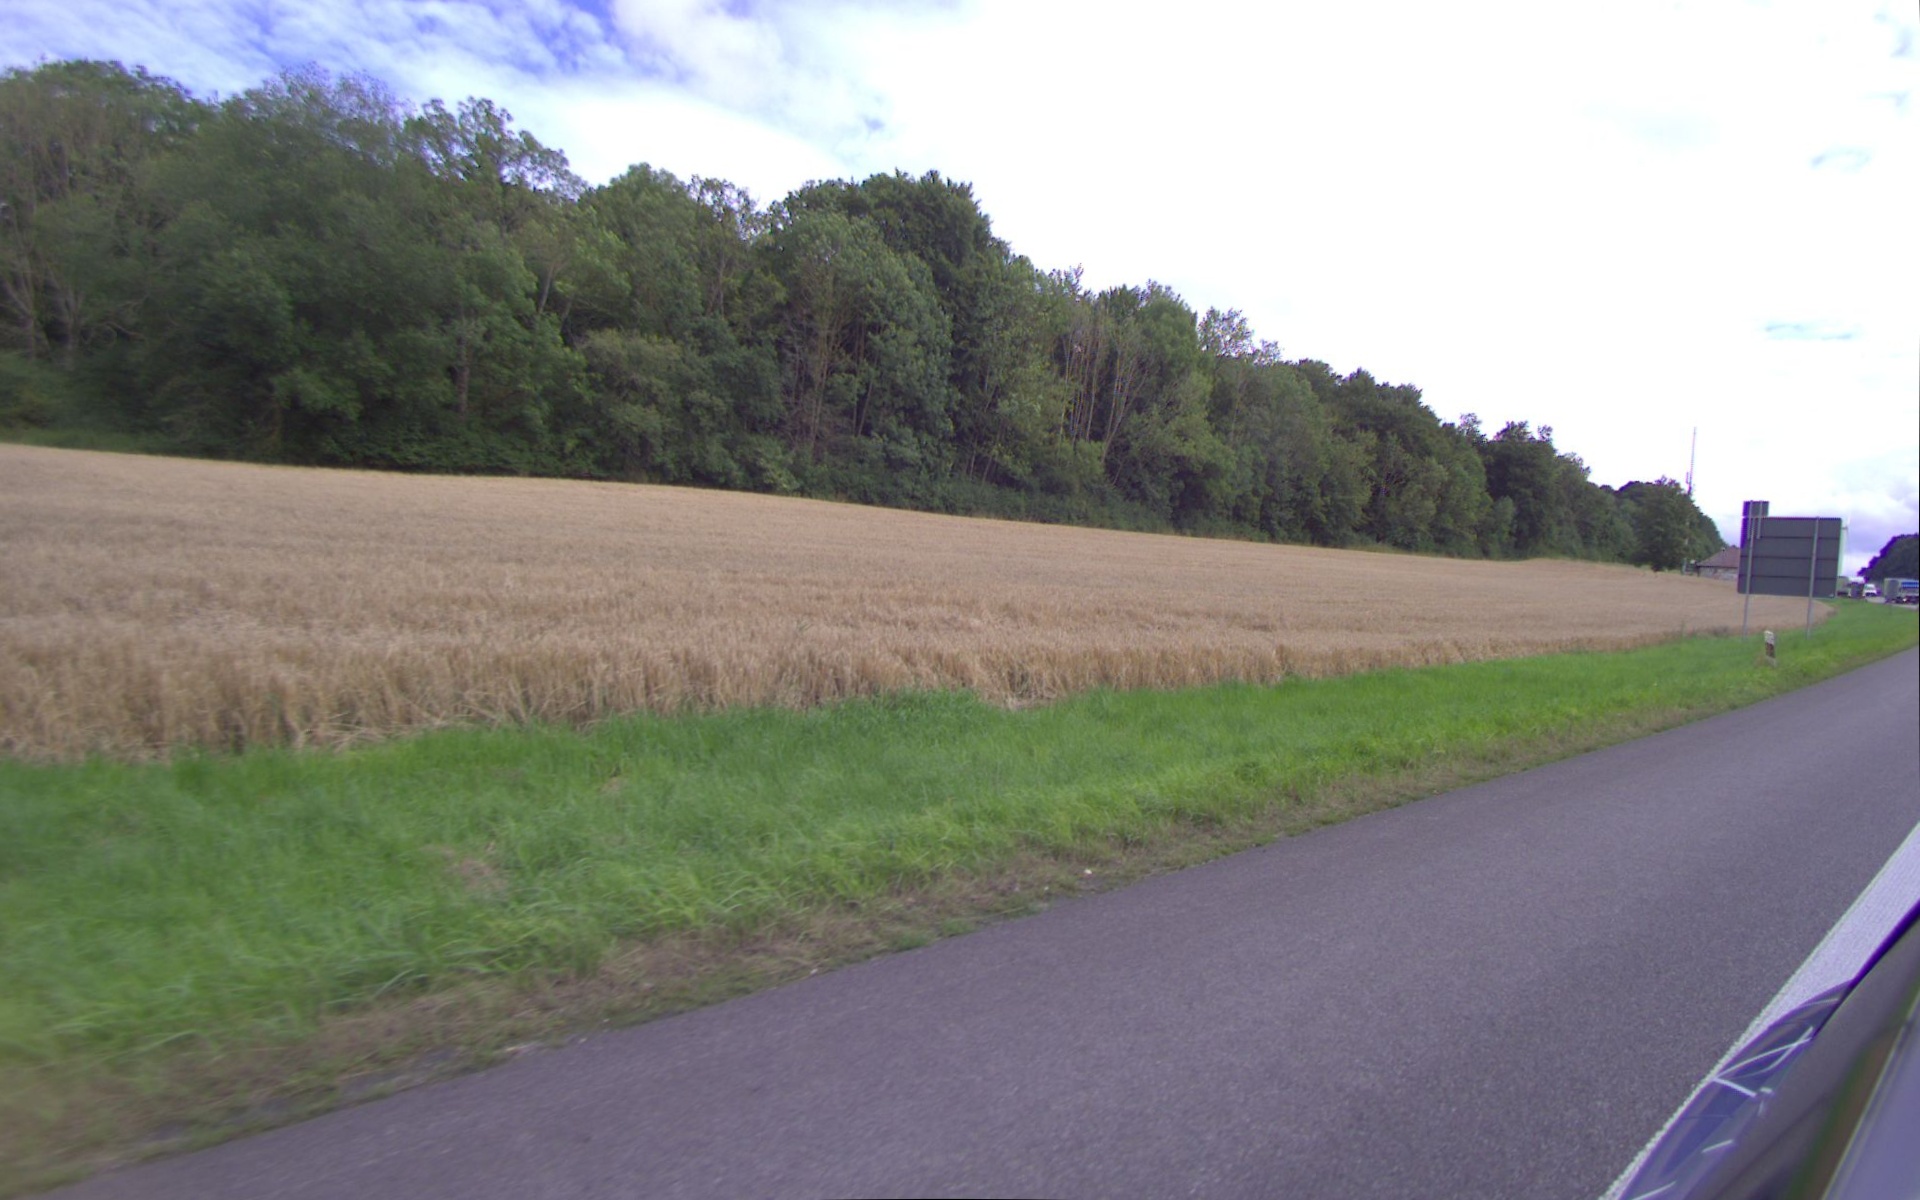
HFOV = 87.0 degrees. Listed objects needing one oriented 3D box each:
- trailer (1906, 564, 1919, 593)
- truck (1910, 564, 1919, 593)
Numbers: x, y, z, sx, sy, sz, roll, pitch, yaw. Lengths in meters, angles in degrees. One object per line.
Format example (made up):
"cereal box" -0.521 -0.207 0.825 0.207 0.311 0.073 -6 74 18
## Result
"trailer" 139.584 -3.130 146.869 2.777 4.004 11.130 1 1 41
"truck" 135.219 -3.032 141.818 2.786 4.021 5.852 1 1 41
